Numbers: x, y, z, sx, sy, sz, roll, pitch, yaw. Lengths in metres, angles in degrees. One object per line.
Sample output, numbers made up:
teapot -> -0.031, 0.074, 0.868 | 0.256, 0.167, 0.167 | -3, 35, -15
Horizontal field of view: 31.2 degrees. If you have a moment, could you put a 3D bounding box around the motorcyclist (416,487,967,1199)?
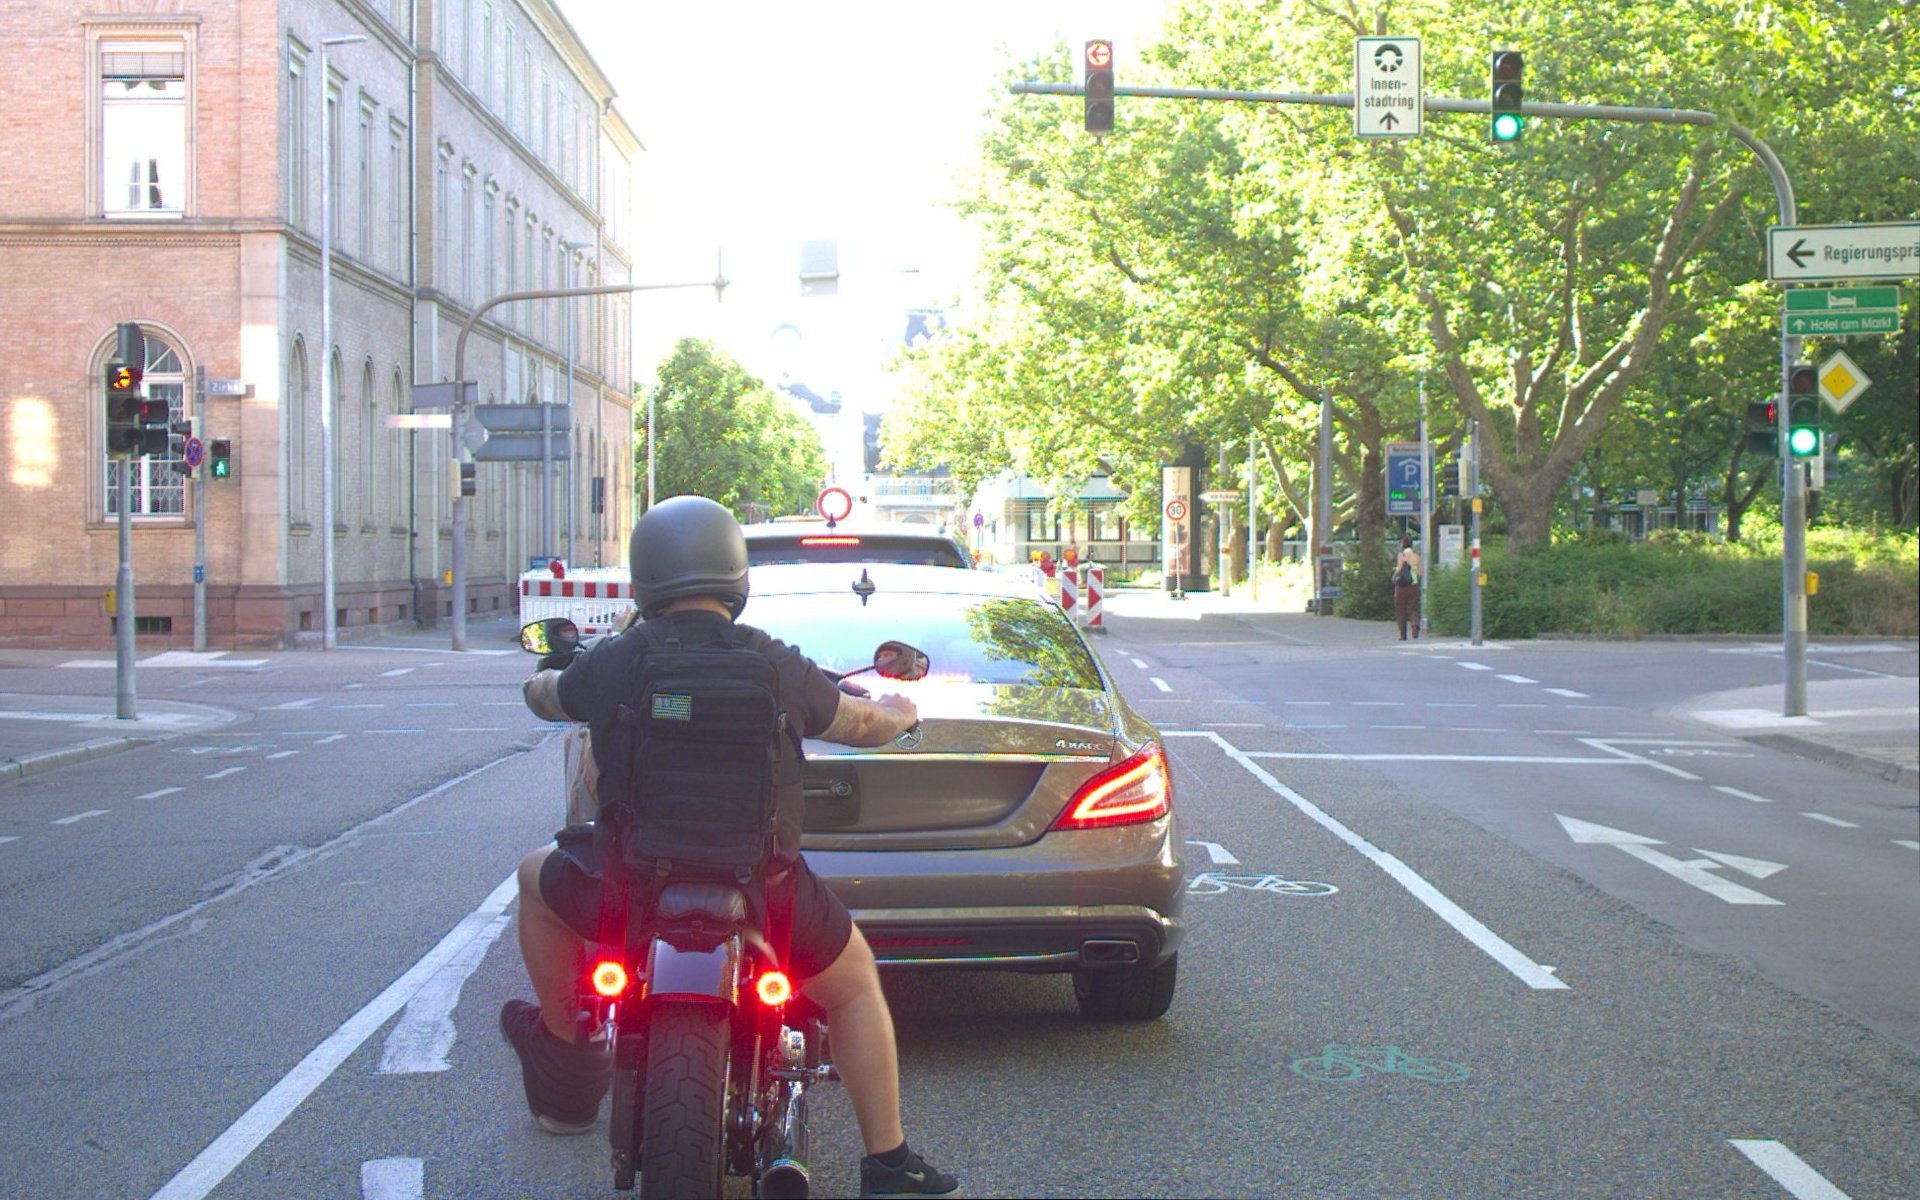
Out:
motorcyclist -> -0.551, 0.564, 7.562 | 1.113, 1.607, 1.202 | 0, 1, -1

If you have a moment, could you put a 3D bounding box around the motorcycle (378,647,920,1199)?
motorcycle -> -0.594, 0.751, 7.738 | 1.007, 1.200, 2.665 | 0, 1, -1

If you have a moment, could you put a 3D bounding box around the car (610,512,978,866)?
car -> -0.819, 0.377, 17.625 | 1.681, 1.619, 3.841 | 0, 1, -2

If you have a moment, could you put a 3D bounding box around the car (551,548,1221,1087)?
car -> -0.451, 0.562, 11.669 | 1.821, 1.471, 4.354 | 0, 1, -7

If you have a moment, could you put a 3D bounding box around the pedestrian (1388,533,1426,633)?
pedestrian -> 7.493, -0.294, 57.658 | 0.559, 1.672, 0.565 | 0, 1, -1
